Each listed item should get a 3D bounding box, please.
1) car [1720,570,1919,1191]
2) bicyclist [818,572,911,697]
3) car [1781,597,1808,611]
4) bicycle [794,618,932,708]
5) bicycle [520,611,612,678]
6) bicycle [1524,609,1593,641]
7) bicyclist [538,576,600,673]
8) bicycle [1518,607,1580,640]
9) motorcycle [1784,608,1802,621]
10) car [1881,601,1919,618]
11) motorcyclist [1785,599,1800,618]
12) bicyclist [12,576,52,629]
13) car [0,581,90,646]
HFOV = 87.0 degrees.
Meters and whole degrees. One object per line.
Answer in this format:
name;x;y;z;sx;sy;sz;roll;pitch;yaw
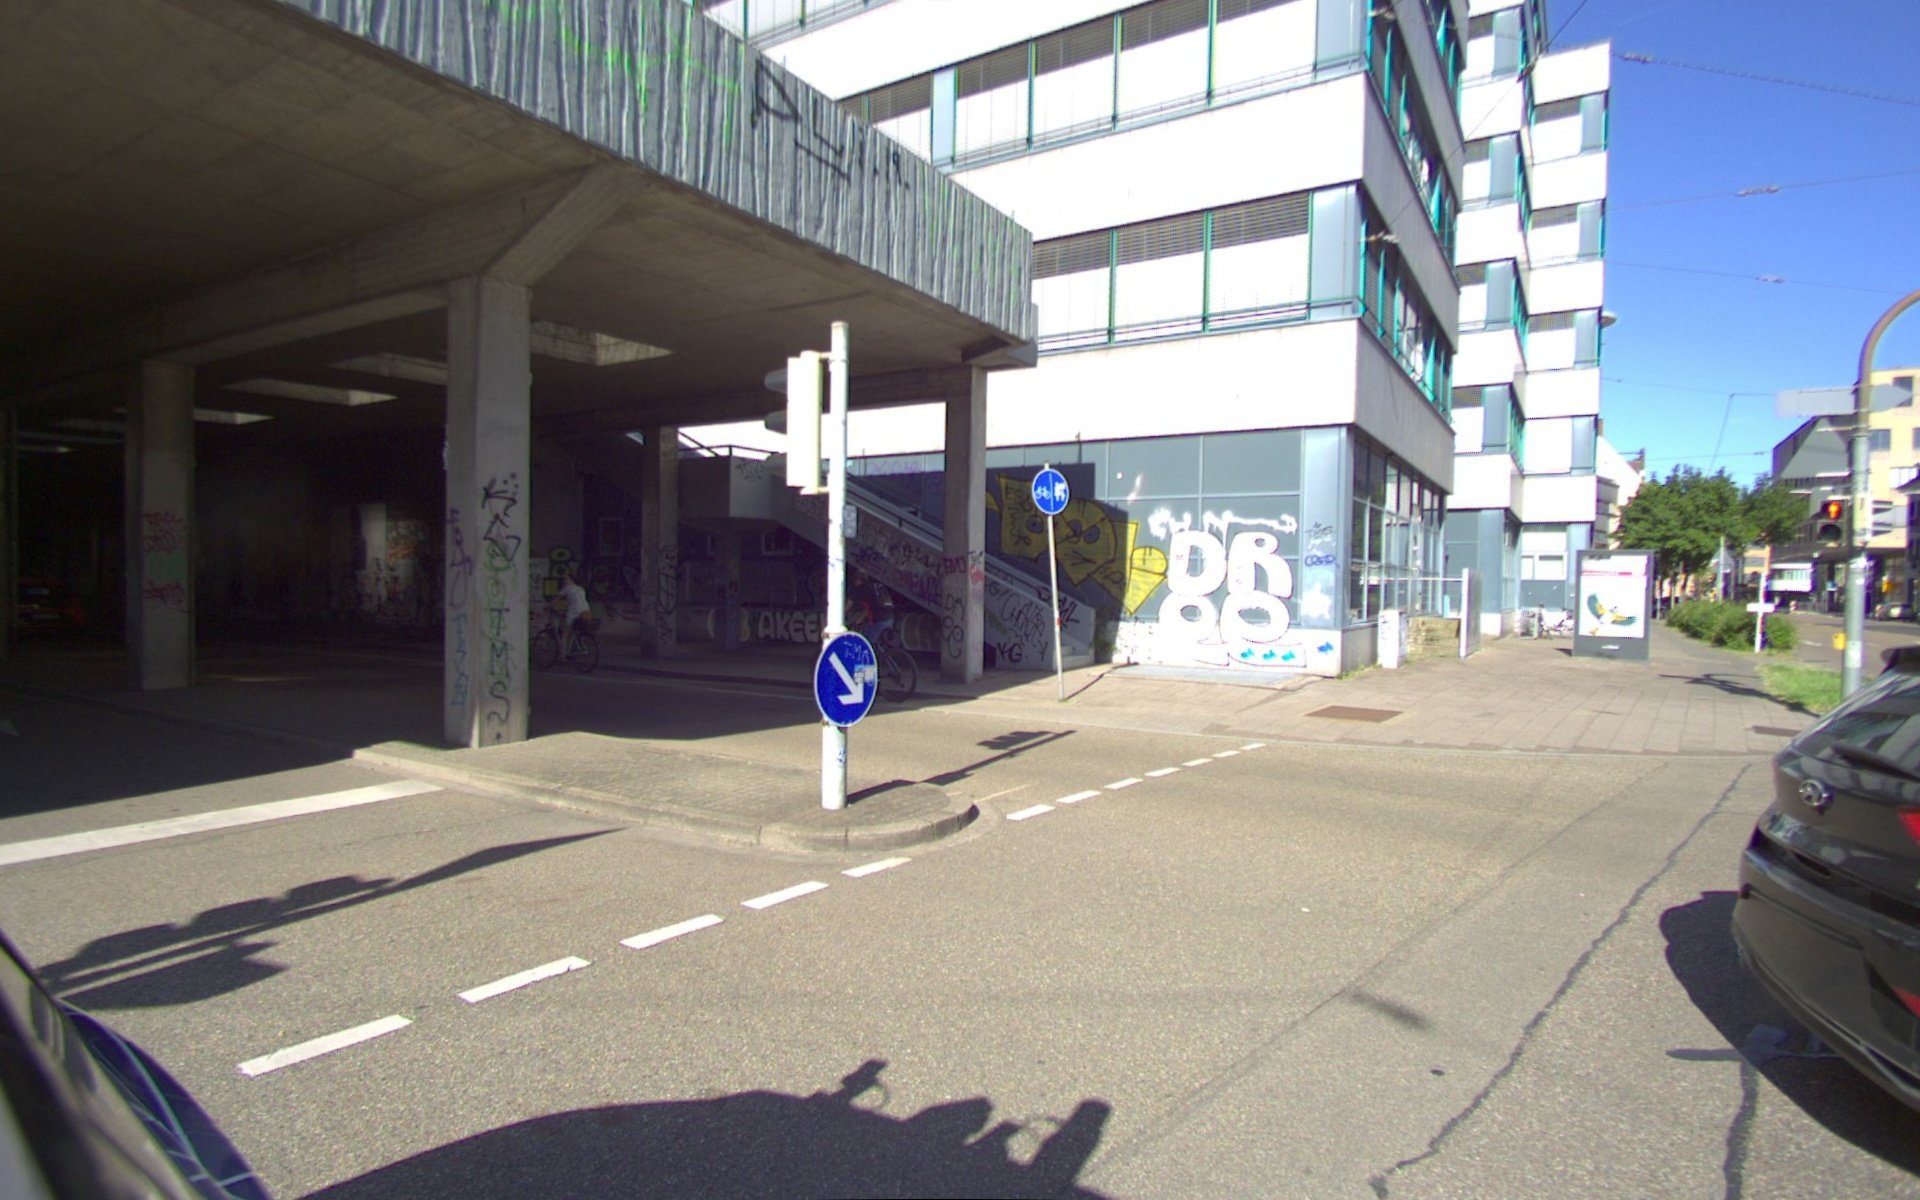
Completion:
car;4.387;0.691;1.957;4.293;1.462;1.795;1;-1;20
bicyclist;-1.327;0.452;14.120;1.028;1.673;0.775;1;0;34
car;86.686;0.430;105.178;1.799;1.373;3.669;0;0;34
bicycle;-1.377;0.840;14.124;2.054;1.131;0.537;1;0;35
bicycle;-6.943;0.756;17.805;1.854;1.098;0.521;1;1;33
bicycle;19.867;0.813;33.611;1.899;0.988;0.481;2;2;42
bicyclist;-6.859;0.409;17.751;0.907;1.645;0.601;1;0;33
bicycle;19.088;0.741;32.829;1.665;0.988;0.481;2;2;42
motorcycle;85.649;1.511;104.120;0.913;1.242;2.736;1;1;29
car;73.998;0.718;79.578;1.799;1.339;3.669;0;0;34
motorcyclist;85.639;0.895;104.092;0.938;1.884;1.045;1;1;29
bicyclist;-30.541;0.096;33.308;0.964;1.724;0.740;-1;-1;32
car;-22.709;0.280;24.401;3.451;1.452;1.645;1;0;31
